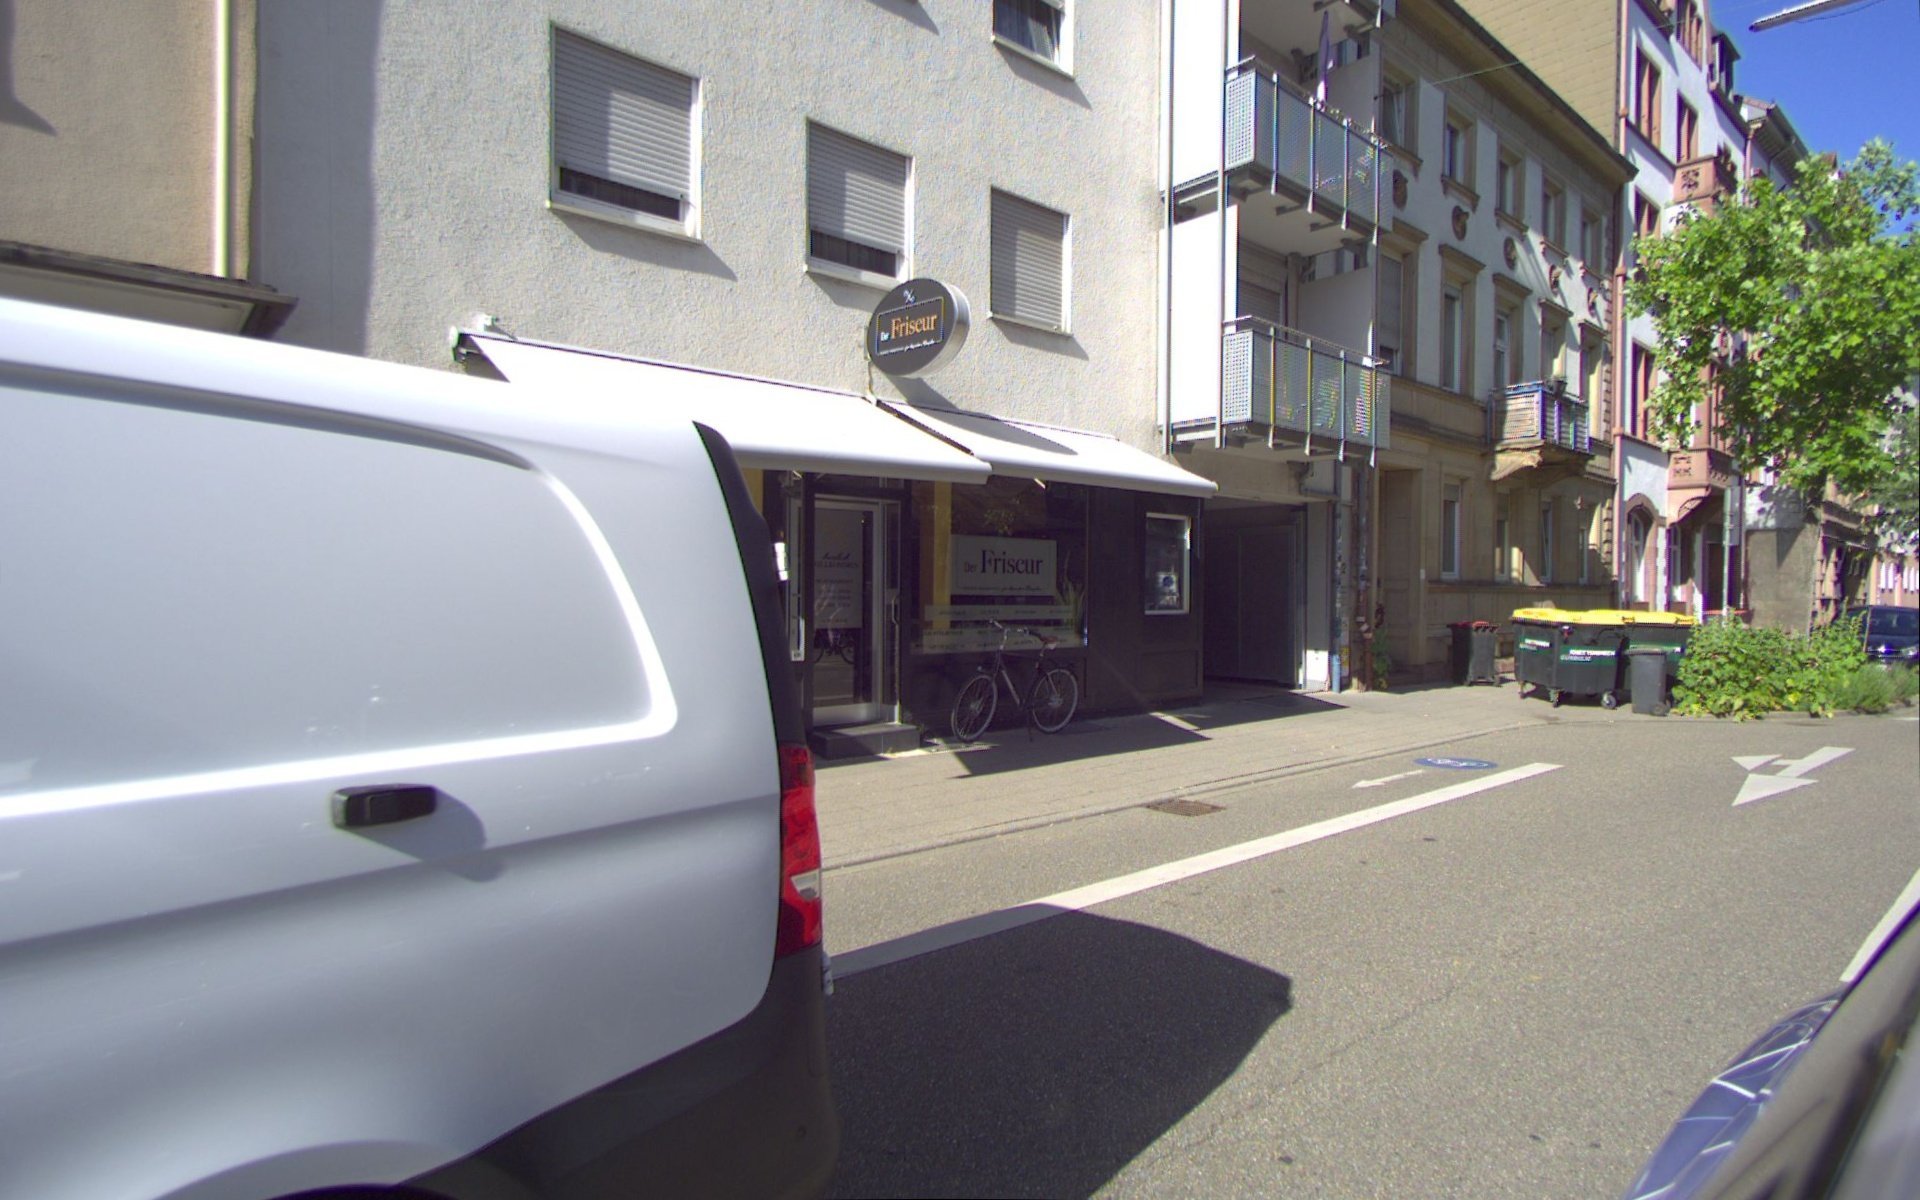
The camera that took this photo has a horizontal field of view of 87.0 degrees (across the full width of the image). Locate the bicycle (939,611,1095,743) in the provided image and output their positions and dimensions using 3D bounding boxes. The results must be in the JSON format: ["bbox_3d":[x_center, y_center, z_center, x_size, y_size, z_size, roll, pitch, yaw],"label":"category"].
[{"bbox_3d":[0.599,0.721,10.105,1.760,1.193,0.402,0,0,-41],"label":"bicycle"}]

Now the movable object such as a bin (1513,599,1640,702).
[{"bbox_3d":[8.837,0.703,14.579,1.030,1.341,1.216,1,3,1],"label":"movable object such as a bin"}]

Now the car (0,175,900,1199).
[{"bbox_3d":[-2.513,0.496,0.879,4.913,1.892,1.838,0,1,-44],"label":"car"}]

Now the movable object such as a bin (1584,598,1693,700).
[{"bbox_3d":[9.954,0.688,14.903,0.943,1.364,1.066,1,3,11],"label":"movable object such as a bin"}]

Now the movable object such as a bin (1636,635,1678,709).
[{"bbox_3d":[9.567,0.974,13.889,0.399,0.933,0.478,3,3,41],"label":"movable object such as a bin"}]

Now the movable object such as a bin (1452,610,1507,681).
[{"bbox_3d":[8.528,0.743,16.625,0.557,1.094,0.617,1,3,1],"label":"movable object such as a bin"}]

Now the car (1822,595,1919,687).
[{"bbox_3d":[16.832,0.677,18.217,3.293,1.510,1.550,0,1,-41],"label":"car"}]
